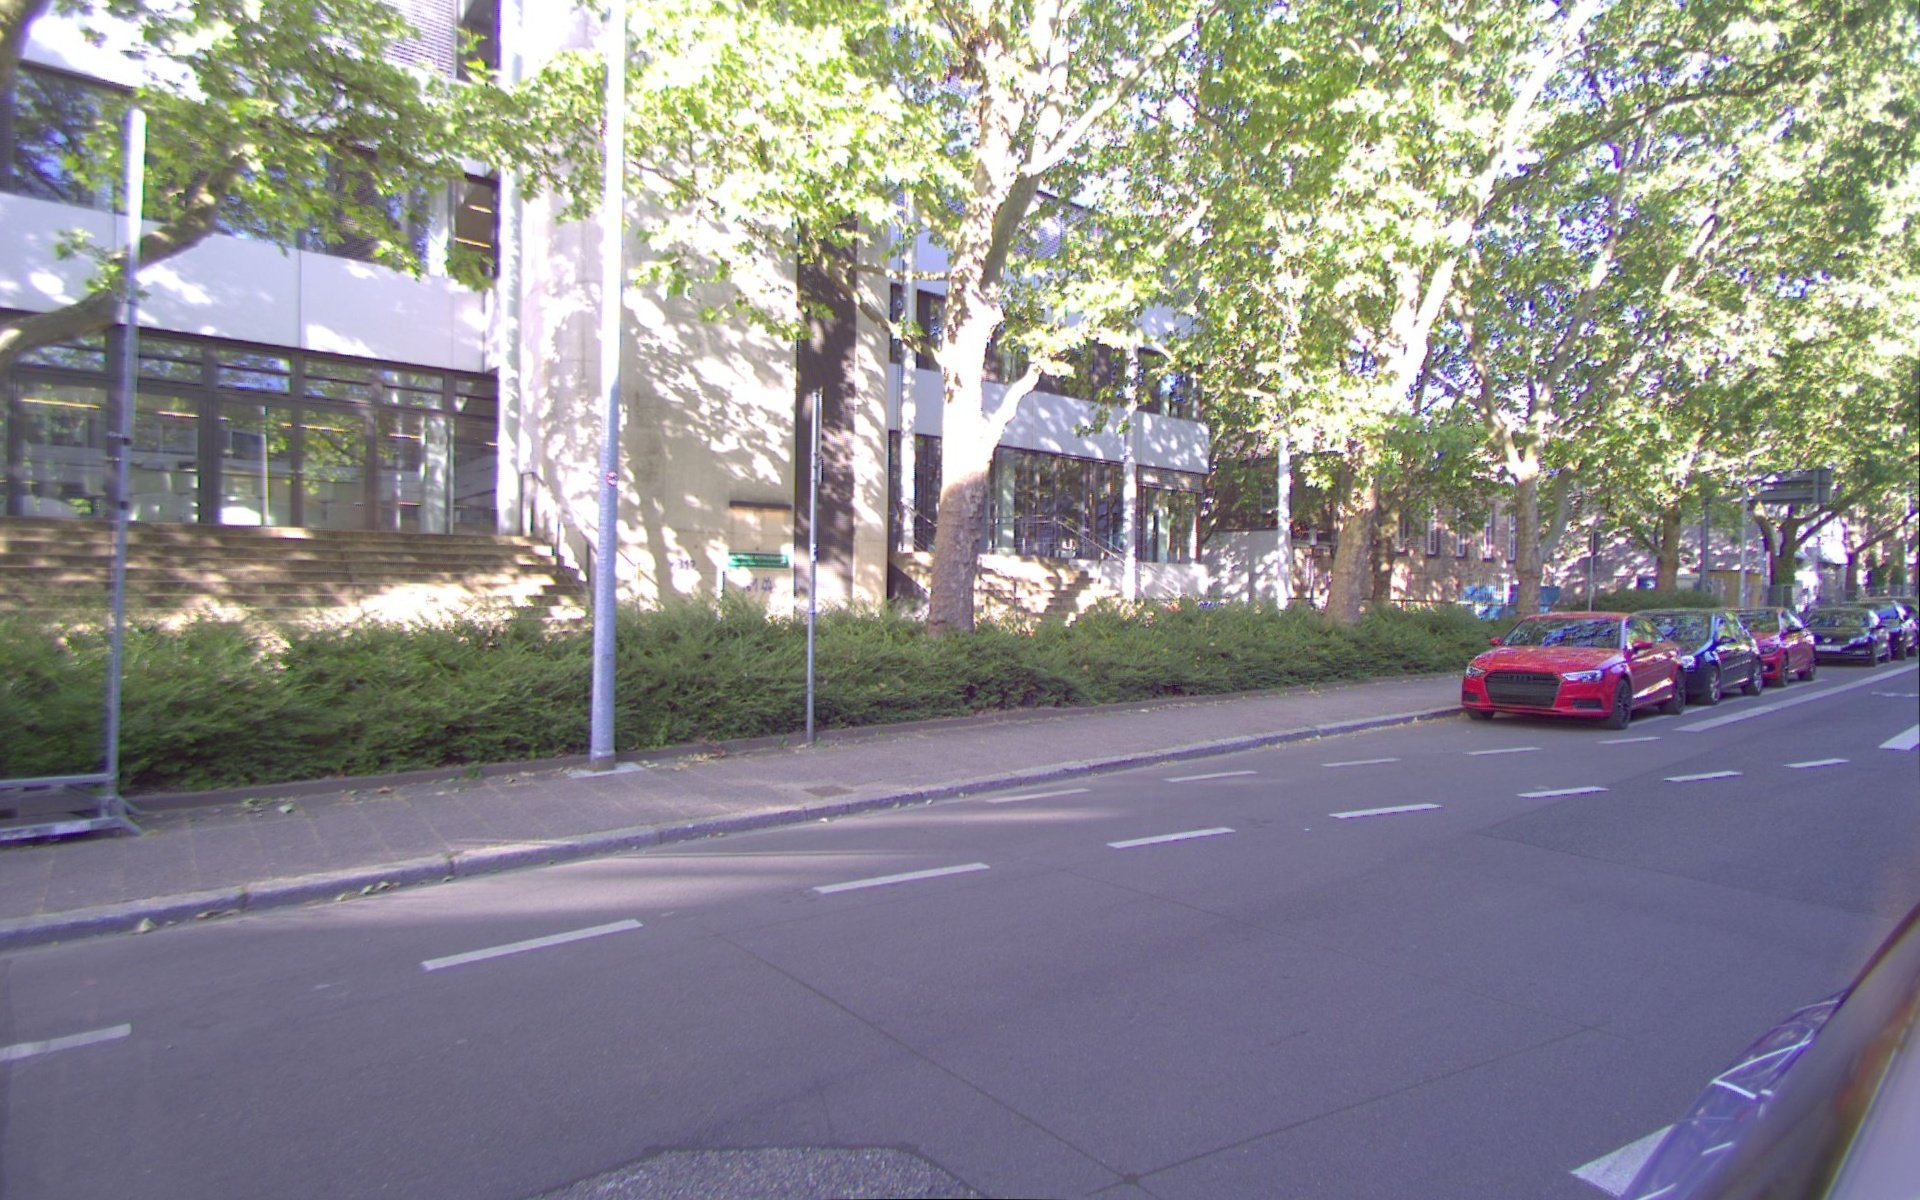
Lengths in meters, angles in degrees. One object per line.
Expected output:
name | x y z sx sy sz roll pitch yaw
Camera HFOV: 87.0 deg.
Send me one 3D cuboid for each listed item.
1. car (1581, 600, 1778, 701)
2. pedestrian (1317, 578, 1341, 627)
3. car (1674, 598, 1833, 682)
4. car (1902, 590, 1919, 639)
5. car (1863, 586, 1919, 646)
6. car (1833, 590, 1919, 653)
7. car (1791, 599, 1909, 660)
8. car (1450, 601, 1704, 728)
car | 11.851 0.742 16.589 3.841 1.451 1.753 0 -1 -41
pedestrian | 12.995 0.082 35.653 0.649 1.691 0.525 0 0 -39
car | 15.703 0.724 19.965 3.841 1.486 1.753 0 -1 -41
car | 36.196 0.520 37.262 4.370 1.750 1.753 0 -1 -41
car | 30.972 0.490 32.966 4.370 1.844 1.753 0 -1 -41
car | 26.715 0.590 29.176 4.101 1.674 1.753 0 -1 -41
car | 22.948 0.720 26.063 3.841 1.451 1.753 0 -1 -41
car | 8.275 0.744 13.444 3.930 1.427 1.753 0 -1 -41
